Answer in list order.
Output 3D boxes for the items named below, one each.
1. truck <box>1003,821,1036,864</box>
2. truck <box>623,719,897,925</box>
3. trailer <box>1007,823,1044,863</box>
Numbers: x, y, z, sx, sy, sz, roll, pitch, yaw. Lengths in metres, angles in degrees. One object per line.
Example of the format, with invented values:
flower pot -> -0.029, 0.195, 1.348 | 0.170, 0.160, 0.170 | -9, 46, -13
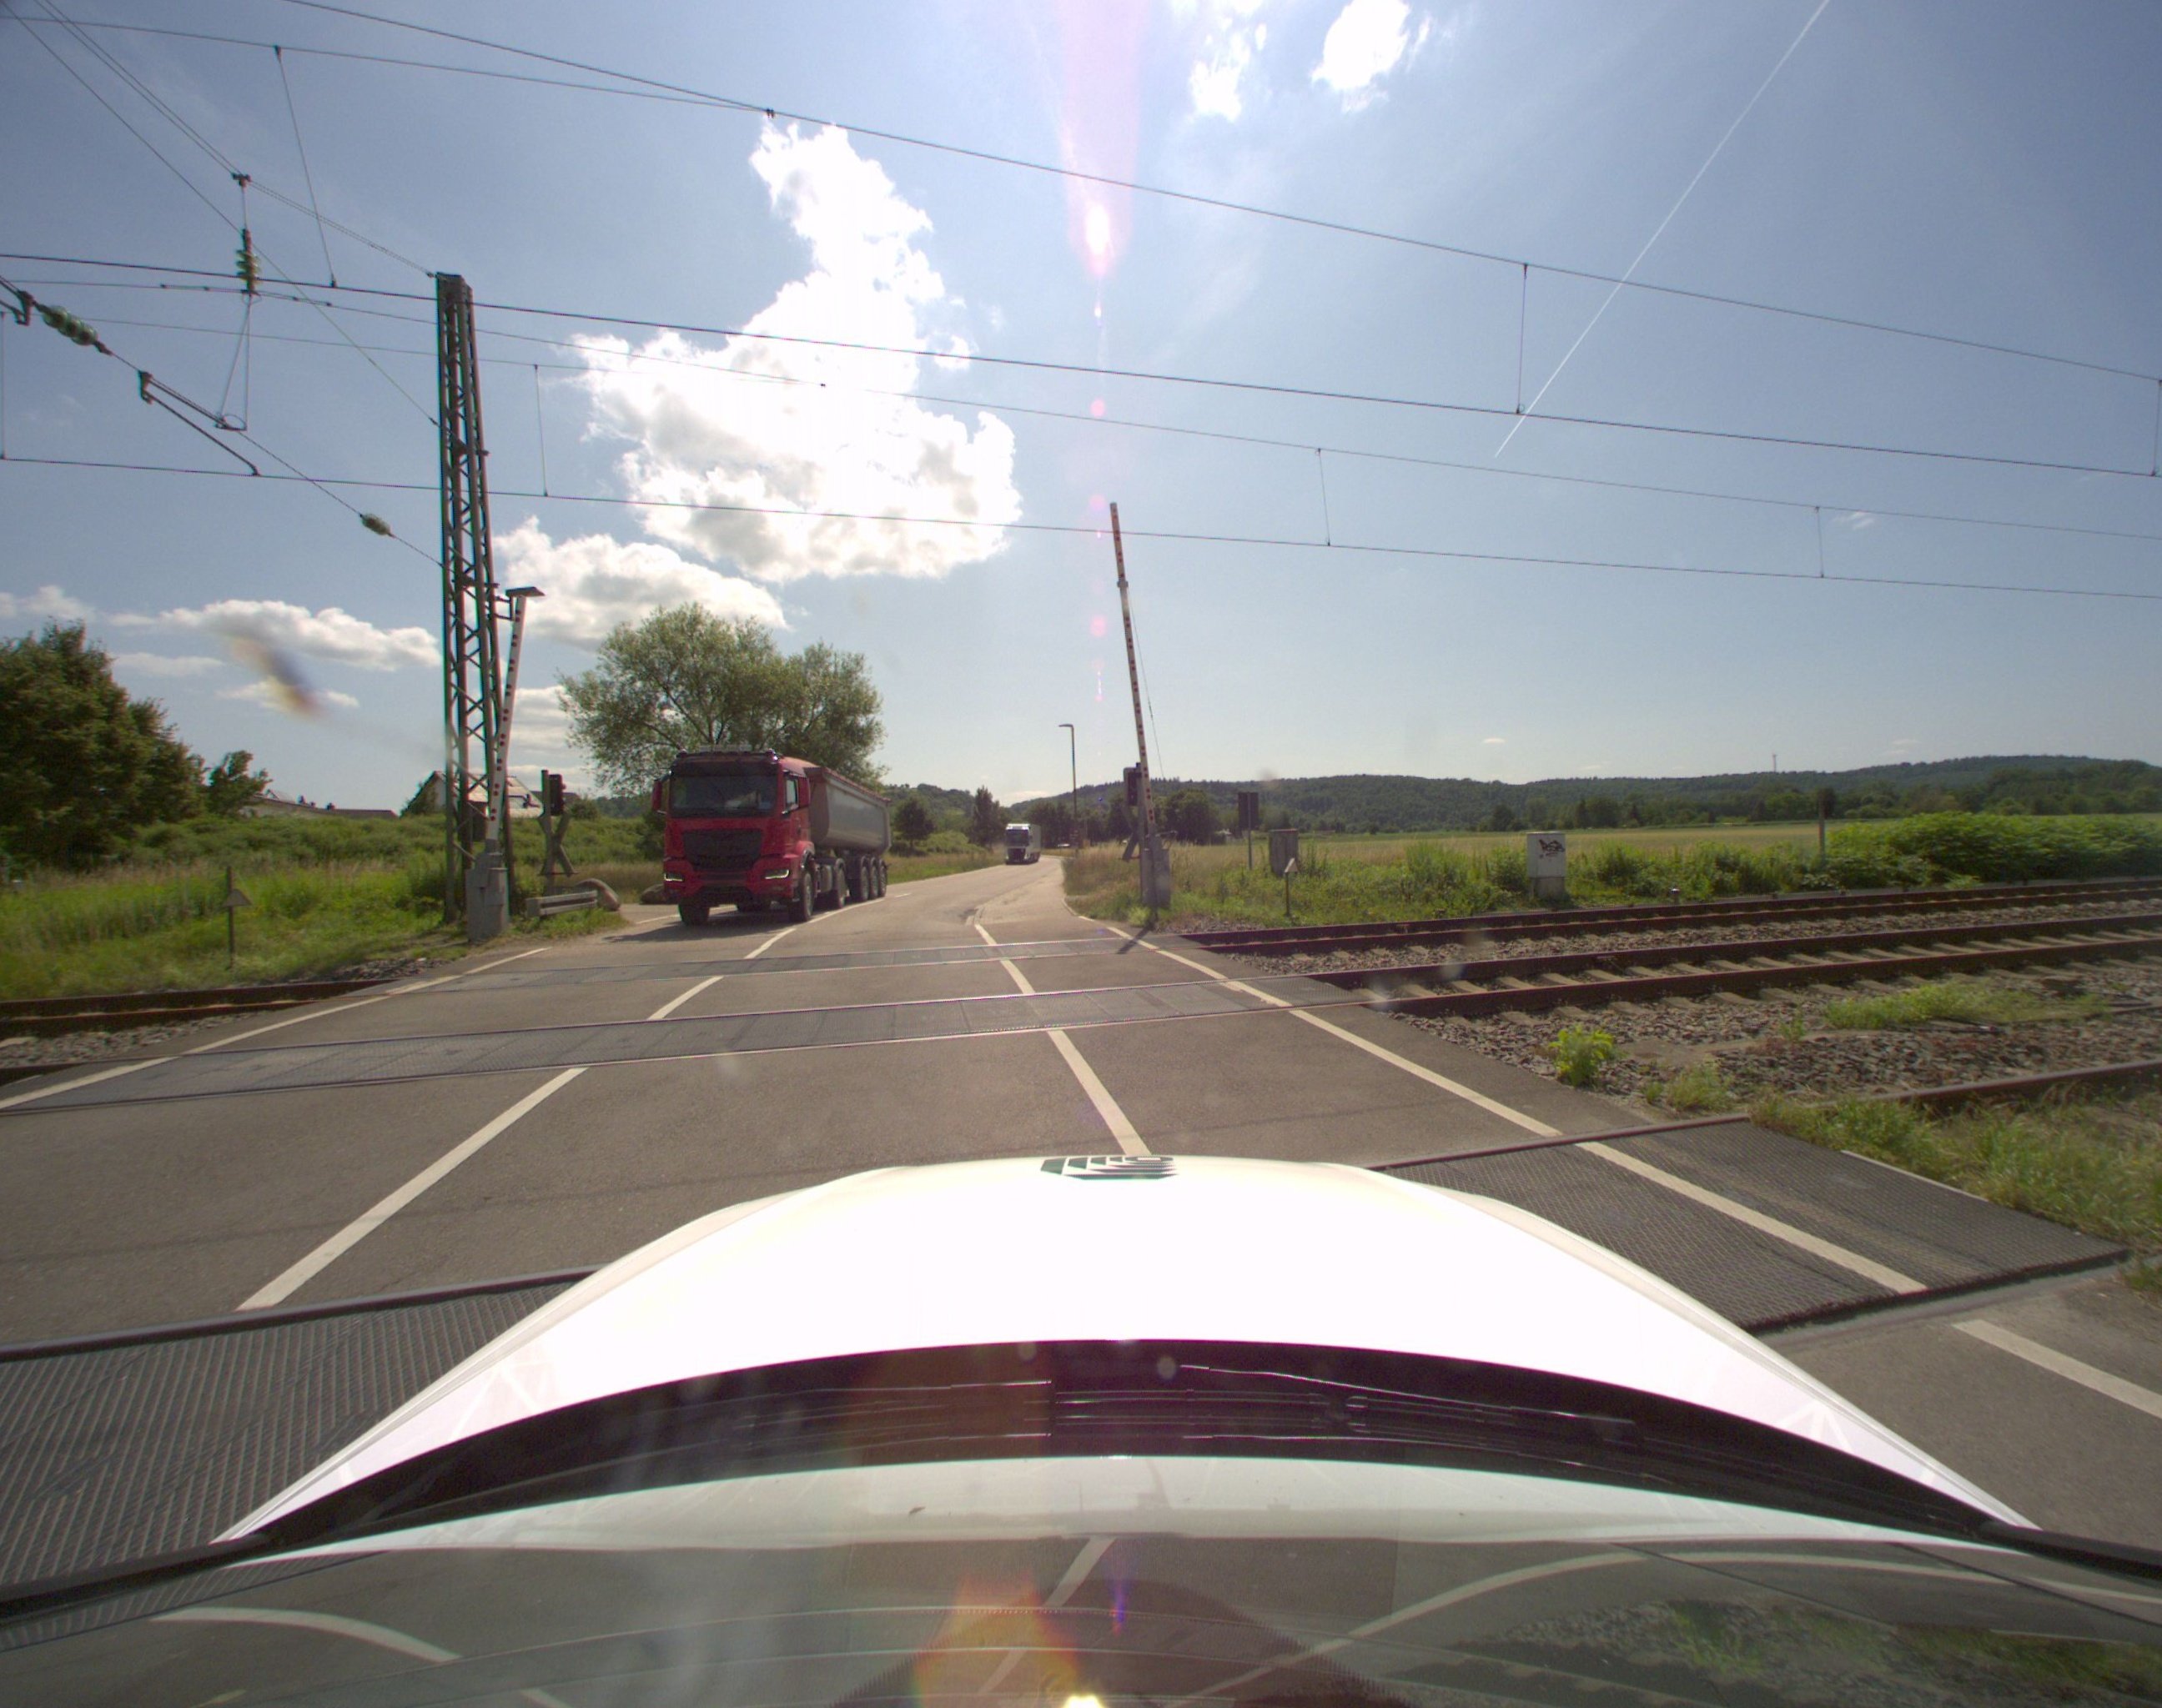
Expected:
truck -> -5.977, -1.121, 80.404 | 2.561, 3.948, 6.041 | -2, 0, 1
truck -> -7.244, -0.648, 21.008 | 2.866, 3.745, 12.133 | -1, 0, -4
trailer -> -5.802, -1.182, 87.495 | 2.574, 3.948, 13.063 | -2, 1, 1
